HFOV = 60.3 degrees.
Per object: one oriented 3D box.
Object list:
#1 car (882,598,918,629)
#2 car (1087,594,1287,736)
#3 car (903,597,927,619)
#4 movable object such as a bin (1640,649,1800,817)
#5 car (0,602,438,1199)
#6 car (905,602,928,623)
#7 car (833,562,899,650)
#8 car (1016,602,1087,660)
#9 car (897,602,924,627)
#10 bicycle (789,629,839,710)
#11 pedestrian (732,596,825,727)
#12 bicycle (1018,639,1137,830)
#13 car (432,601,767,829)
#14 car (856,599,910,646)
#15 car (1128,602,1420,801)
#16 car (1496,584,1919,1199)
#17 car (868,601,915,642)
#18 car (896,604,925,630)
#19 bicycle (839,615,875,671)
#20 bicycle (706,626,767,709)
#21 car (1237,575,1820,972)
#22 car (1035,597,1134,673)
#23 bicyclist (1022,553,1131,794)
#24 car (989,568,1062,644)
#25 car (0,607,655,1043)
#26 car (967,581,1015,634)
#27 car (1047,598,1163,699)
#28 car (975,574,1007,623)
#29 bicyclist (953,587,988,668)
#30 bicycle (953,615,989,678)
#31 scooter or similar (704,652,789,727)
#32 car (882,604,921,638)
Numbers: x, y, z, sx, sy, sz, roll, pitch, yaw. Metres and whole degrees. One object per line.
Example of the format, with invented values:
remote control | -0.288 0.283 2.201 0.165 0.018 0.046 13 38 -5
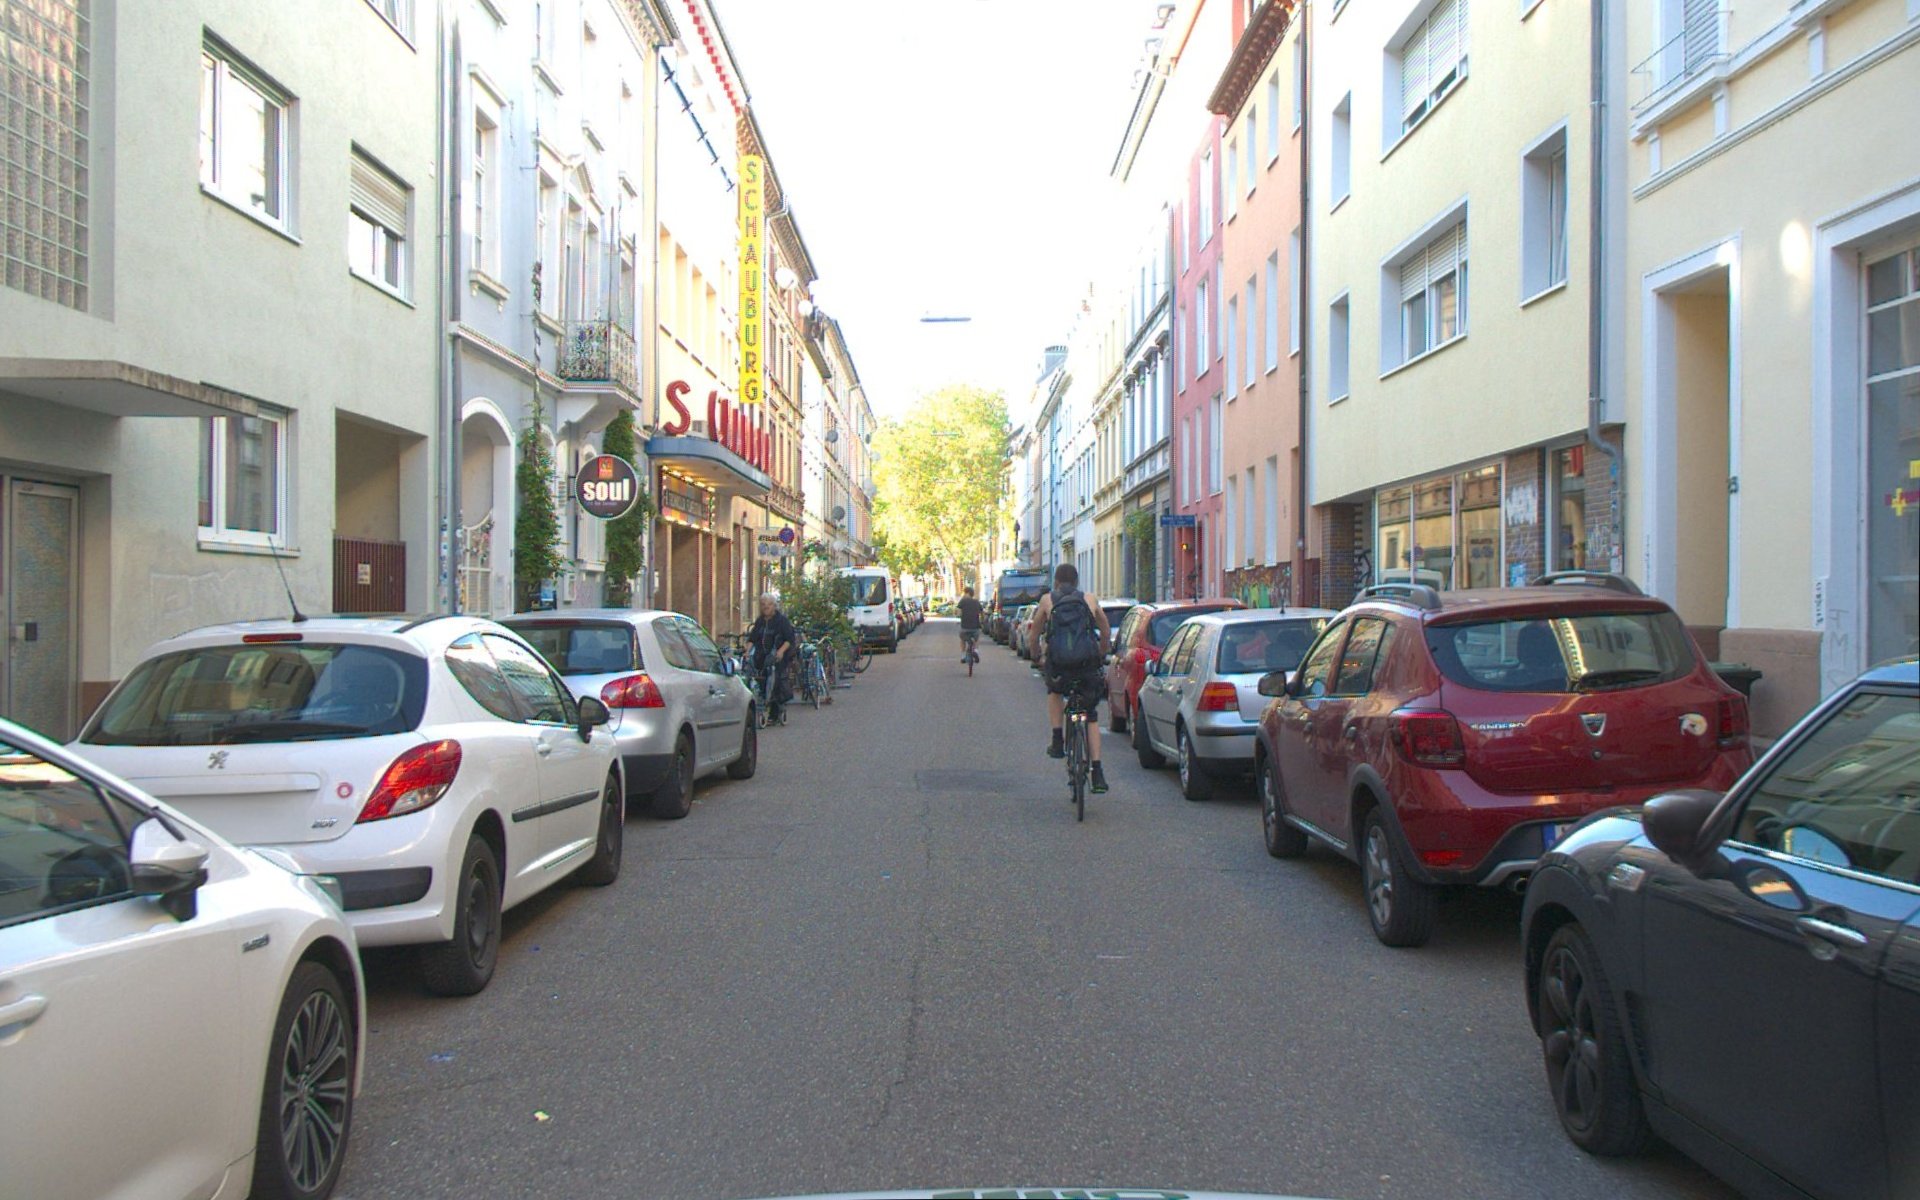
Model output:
car | -3.001 0.678 82.941 1.638 1.467 4.164 -2 -1 -1
car | 2.499 0.688 19.100 1.676 1.407 3.999 -2 -1 -1
car | -3.204 0.572 118.273 1.638 1.467 4.164 -2 -1 -1
movable object such as a bin | 5.336 0.922 11.651 0.790 1.094 0.678 -3 -1 4
car | -2.276 0.770 2.628 1.638 1.467 4.163 -2 -1 -2
car | -3.319 0.957 125.628 1.638 1.467 4.164 -2 -1 -1
car | -2.818 0.172 50.019 1.871 2.540 4.163 -1 0 -2
car | 2.502 0.847 45.922 1.676 1.472 3.999 -2 -1 -1
car | -3.147 0.918 105.694 1.638 1.467 4.164 -2 -1 -1
bicycle | -2.170 1.006 24.728 0.685 1.125 2.272 1 -1 -4
pedestrian | -2.281 0.759 20.774 0.890 1.606 0.763 2 -1 -37
bicycle | 0.830 0.928 12.265 0.687 1.229 2.342 1 -1 0
car | -2.641 0.789 12.985 1.637 1.467 3.754 -2 -1 2
car | -2.603 0.759 56.881 1.638 1.467 4.164 -2 -1 -1
car | 2.532 0.767 14.266 1.676 1.407 3.999 -2 -1 -1
car | 2.641 0.724 3.270 1.780 1.548 3.999 -2 -1 -1
car | -2.637 0.834 64.381 1.638 1.467 4.164 -2 -1 -1
car | -2.926 1.015 98.471 1.638 1.467 4.164 -2 -1 -1
bicycle | -2.297 0.933 36.699 0.743 1.184 2.272 1 -1 -4
bicycle | -3.331 0.988 24.805 0.743 1.154 2.272 1 -1 -4
car | 2.706 0.739 8.895 1.676 1.583 3.999 -2 -1 -1
car | 2.530 0.708 34.374 1.676 1.418 3.999 -2 -1 -1
bicyclist | 0.834 0.515 12.071 0.687 1.662 1.090 1 -1 0
car | 2.360 0.233 61.403 2.261 2.582 6.768 -2 -1 -1
car | -2.599 0.807 7.717 1.638 1.467 3.767 -2 -1 -1
car | 1.583 0.399 86.840 2.261 2.582 6.768 -2 -1 -1
car | 2.467 0.806 28.919 1.587 1.577 3.999 -2 -1 -1
car | 2.484 -0.103 134.236 2.261 3.833 6.768 -2 -1 -1
bicyclist | 0.210 0.550 34.057 0.687 1.633 0.812 0 1 -1
bicycle | 0.211 0.933 34.070 0.687 1.229 2.341 0 0 -1
scooter or similar | -2.649 1.099 20.490 0.762 0.888 0.763 2 -1 -36
car | -2.691 0.950 76.919 1.638 1.467 4.164 -2 -1 -1
